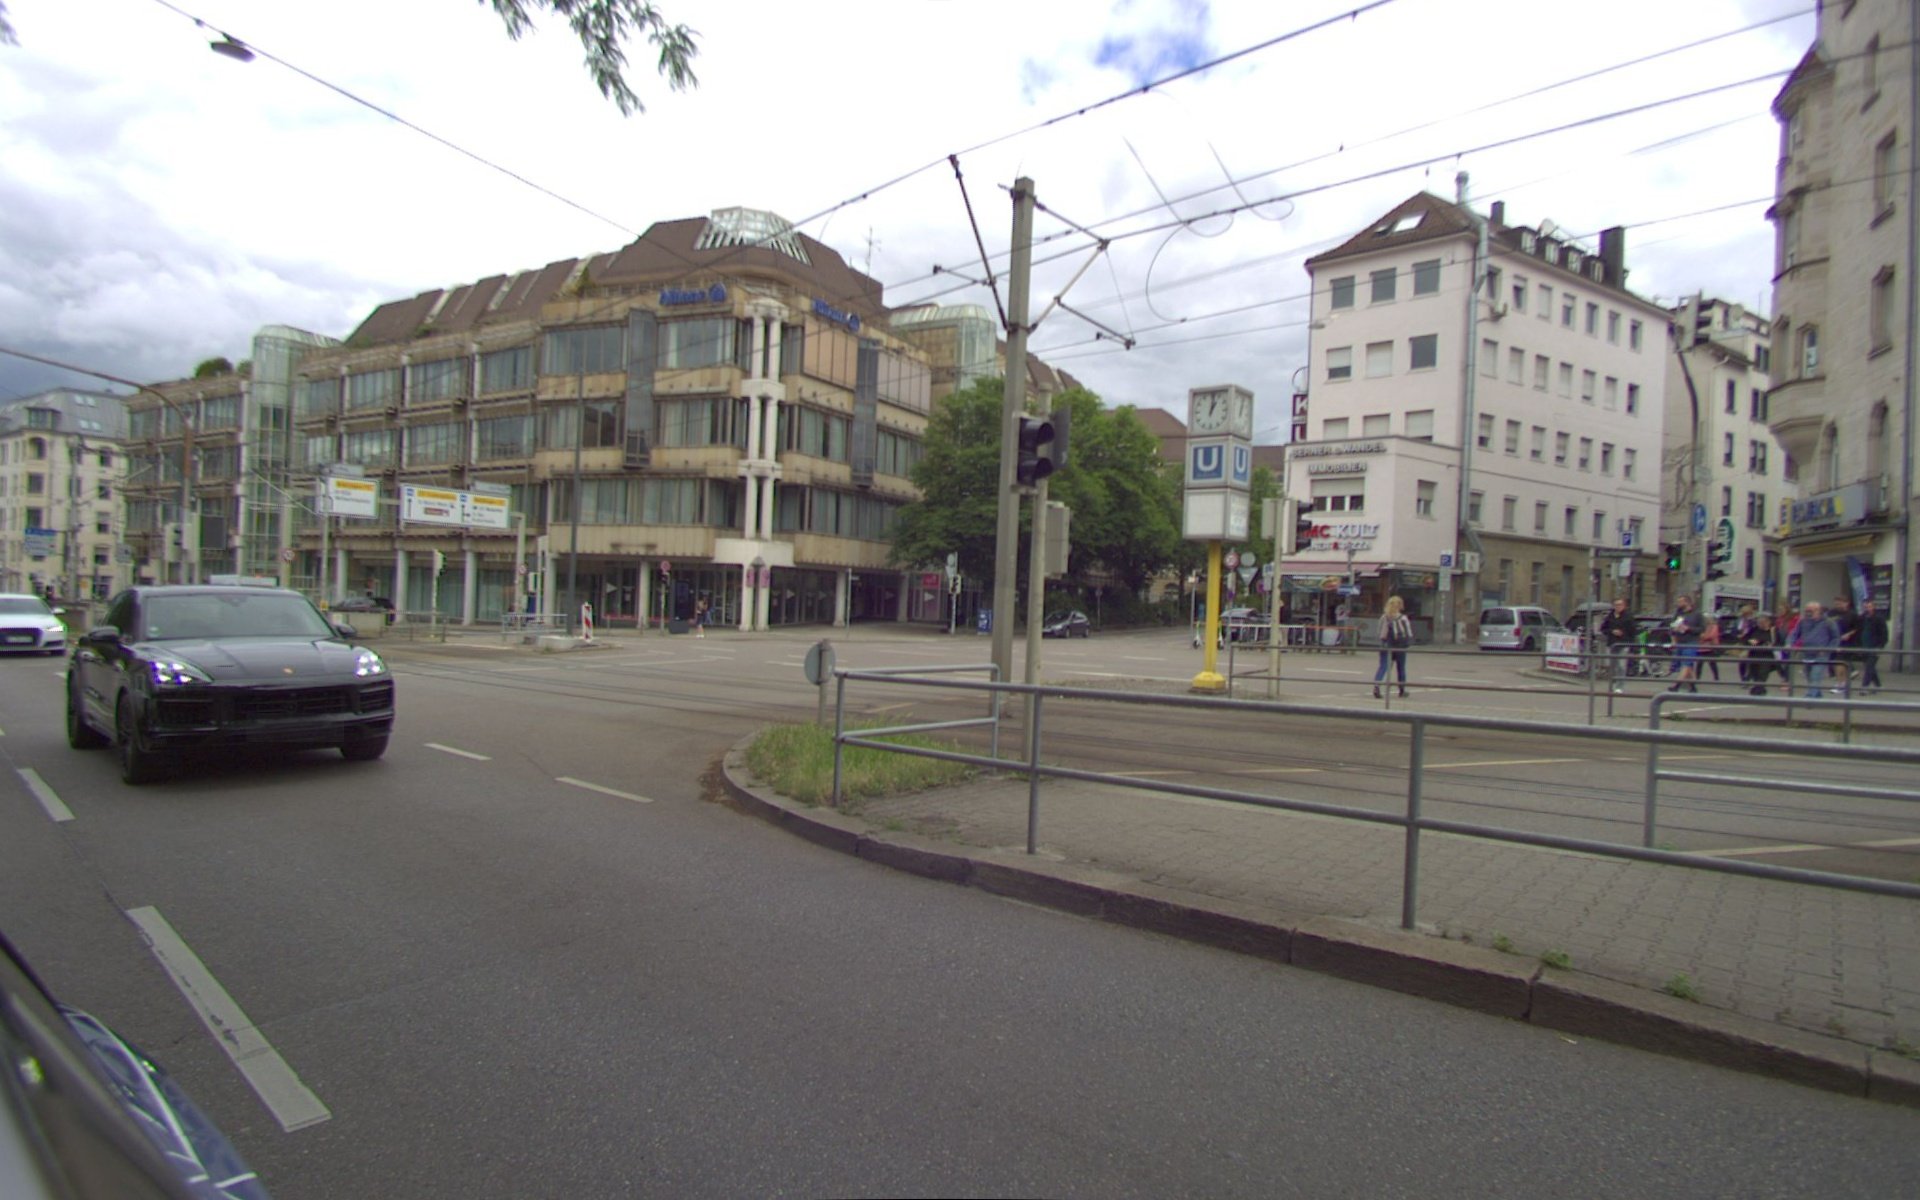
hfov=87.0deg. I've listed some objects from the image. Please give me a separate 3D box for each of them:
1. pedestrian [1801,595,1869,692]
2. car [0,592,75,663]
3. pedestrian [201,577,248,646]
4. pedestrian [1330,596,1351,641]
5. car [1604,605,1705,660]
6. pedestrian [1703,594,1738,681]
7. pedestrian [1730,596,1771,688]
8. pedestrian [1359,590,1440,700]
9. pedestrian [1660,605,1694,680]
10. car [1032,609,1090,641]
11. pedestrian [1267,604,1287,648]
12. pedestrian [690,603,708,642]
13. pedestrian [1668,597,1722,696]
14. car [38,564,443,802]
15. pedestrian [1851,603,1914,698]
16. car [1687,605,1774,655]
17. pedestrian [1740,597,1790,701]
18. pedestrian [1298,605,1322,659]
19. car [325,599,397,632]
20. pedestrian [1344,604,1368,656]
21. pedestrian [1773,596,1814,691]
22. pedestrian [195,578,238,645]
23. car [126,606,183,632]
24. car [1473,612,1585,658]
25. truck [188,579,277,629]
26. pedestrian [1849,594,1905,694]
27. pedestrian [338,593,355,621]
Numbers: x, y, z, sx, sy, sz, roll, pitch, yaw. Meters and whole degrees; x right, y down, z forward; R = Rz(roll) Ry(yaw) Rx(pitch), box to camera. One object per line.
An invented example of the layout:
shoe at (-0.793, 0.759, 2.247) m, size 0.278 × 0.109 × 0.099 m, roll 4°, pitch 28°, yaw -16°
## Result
pedestrian at (16.525, 0.804, 19.117) m, size 0.777 × 1.793 × 0.670 m, roll 1°, pitch -1°, yaw -19°
car at (-22.821, 0.607, 24.092) m, size 3.994 × 1.542 × 1.926 m, roll 1°, pitch 1°, yaw 38°
pedestrian at (-18.912, 0.298, 26.015) m, size 0.772 × 1.734 × 0.784 m, roll 0°, pitch -1°, yaw 39°
pedestrian at (15.406, 0.737, 40.986) m, size 0.503 × 1.793 × 0.600 m, roll 1°, pitch -1°, yaw -38°
car at (23.560, 1.117, 34.295) m, size 3.721 × 1.697 × 1.641 m, roll 3°, pitch -2°, yaw -36°
pedestrian at (15.926, 0.768, 21.196) m, size 0.512 × 1.793 × 0.568 m, roll 0°, pitch -1°, yaw 45°
pedestrian at (15.725, 0.827, 20.134) m, size 0.504 × 1.793 × 0.577 m, roll 1°, pitch -1°, yaw -44°
pedestrian at (7.096, 0.707, 16.356) m, size 0.862 × 1.718 × 0.815 m, roll 1°, pitch -1°, yaw -21°
pedestrian at (15.407, 0.901, 21.742) m, size 0.511 × 1.594 × 0.569 m, roll 0°, pitch -1°, yaw 43°
car at (5.418, 1.305, 53.779) m, size 1.939 × 1.542 × 3.967 m, roll 1°, pitch 1°, yaw 24°
pedestrian at (13.016, 1.052, 41.571) m, size 0.503 × 1.793 × 0.578 m, roll 1°, pitch -1°, yaw -38°
pedestrian at (-11.990, 1.023, 46.499) m, size 0.577 × 1.793 × 0.504 m, roll 0°, pitch -1°, yaw 42°
pedestrian at (13.677, 0.843, 18.825) m, size 0.700 × 1.793 × 0.597 m, roll 1°, pitch -1°, yaw -34°
car at (-7.139, 0.610, 9.760) m, size 5.350 × 1.688 × 2.061 m, roll 0°, pitch -1°, yaw 42°
pedestrian at (16.796, 0.900, 18.438) m, size 0.664 × 1.690 × 0.693 m, roll 1°, pitch -1°, yaw -32°
car at (29.306, 1.137, 38.461) m, size 3.721 × 1.759 × 1.641 m, roll 3°, pitch -2°, yaw -36°
pedestrian at (14.260, 0.851, 17.925) m, size 0.503 × 1.793 × 0.578 m, roll 1°, pitch -1°, yaw -36°
pedestrian at (11.933, 1.079, 34.465) m, size 0.503 × 1.793 × 0.578 m, roll 1°, pitch -1°, yaw -38°
car at (-34.622, 0.889, 58.436) m, size 4.768 × 1.772 × 1.660 m, roll 1°, pitch 1°, yaw 33°
pedestrian at (13.811, 1.046, 35.258) m, size 0.567 × 1.793 × 0.513 m, roll 1°, pitch -1°, yaw -24°
pedestrian at (16.071, 0.819, 19.510) m, size 0.577 × 1.793 × 0.504 m, roll 0°, pitch -1°, yaw 42°
pedestrian at (-19.532, 0.296, 26.582) m, size 0.637 × 1.734 × 0.757 m, roll 0°, pitch -1°, yaw 39°
car at (-52.780, 1.243, 66.279) m, size 4.523 × 1.564 × 1.643 m, roll 1°, pitch -1°, yaw 34°
car at (21.553, 1.282, 38.310) m, size 4.437 × 1.572 × 1.760 m, roll 0°, pitch 1°, yaw -31°
truck at (-49.066, 0.260, 68.178) m, size 7.352 × 3.099 × 2.248 m, roll 1°, pitch -2°, yaw 33°
pedestrian at (16.767, 0.792, 18.516) m, size 0.502 × 1.793 × 0.579 m, roll 1°, pitch -1°, yaw -19°
pedestrian at (-40.862, 0.449, 67.412) m, size 0.738 × 1.825 × 0.724 m, roll 1°, pitch 1°, yaw 34°
